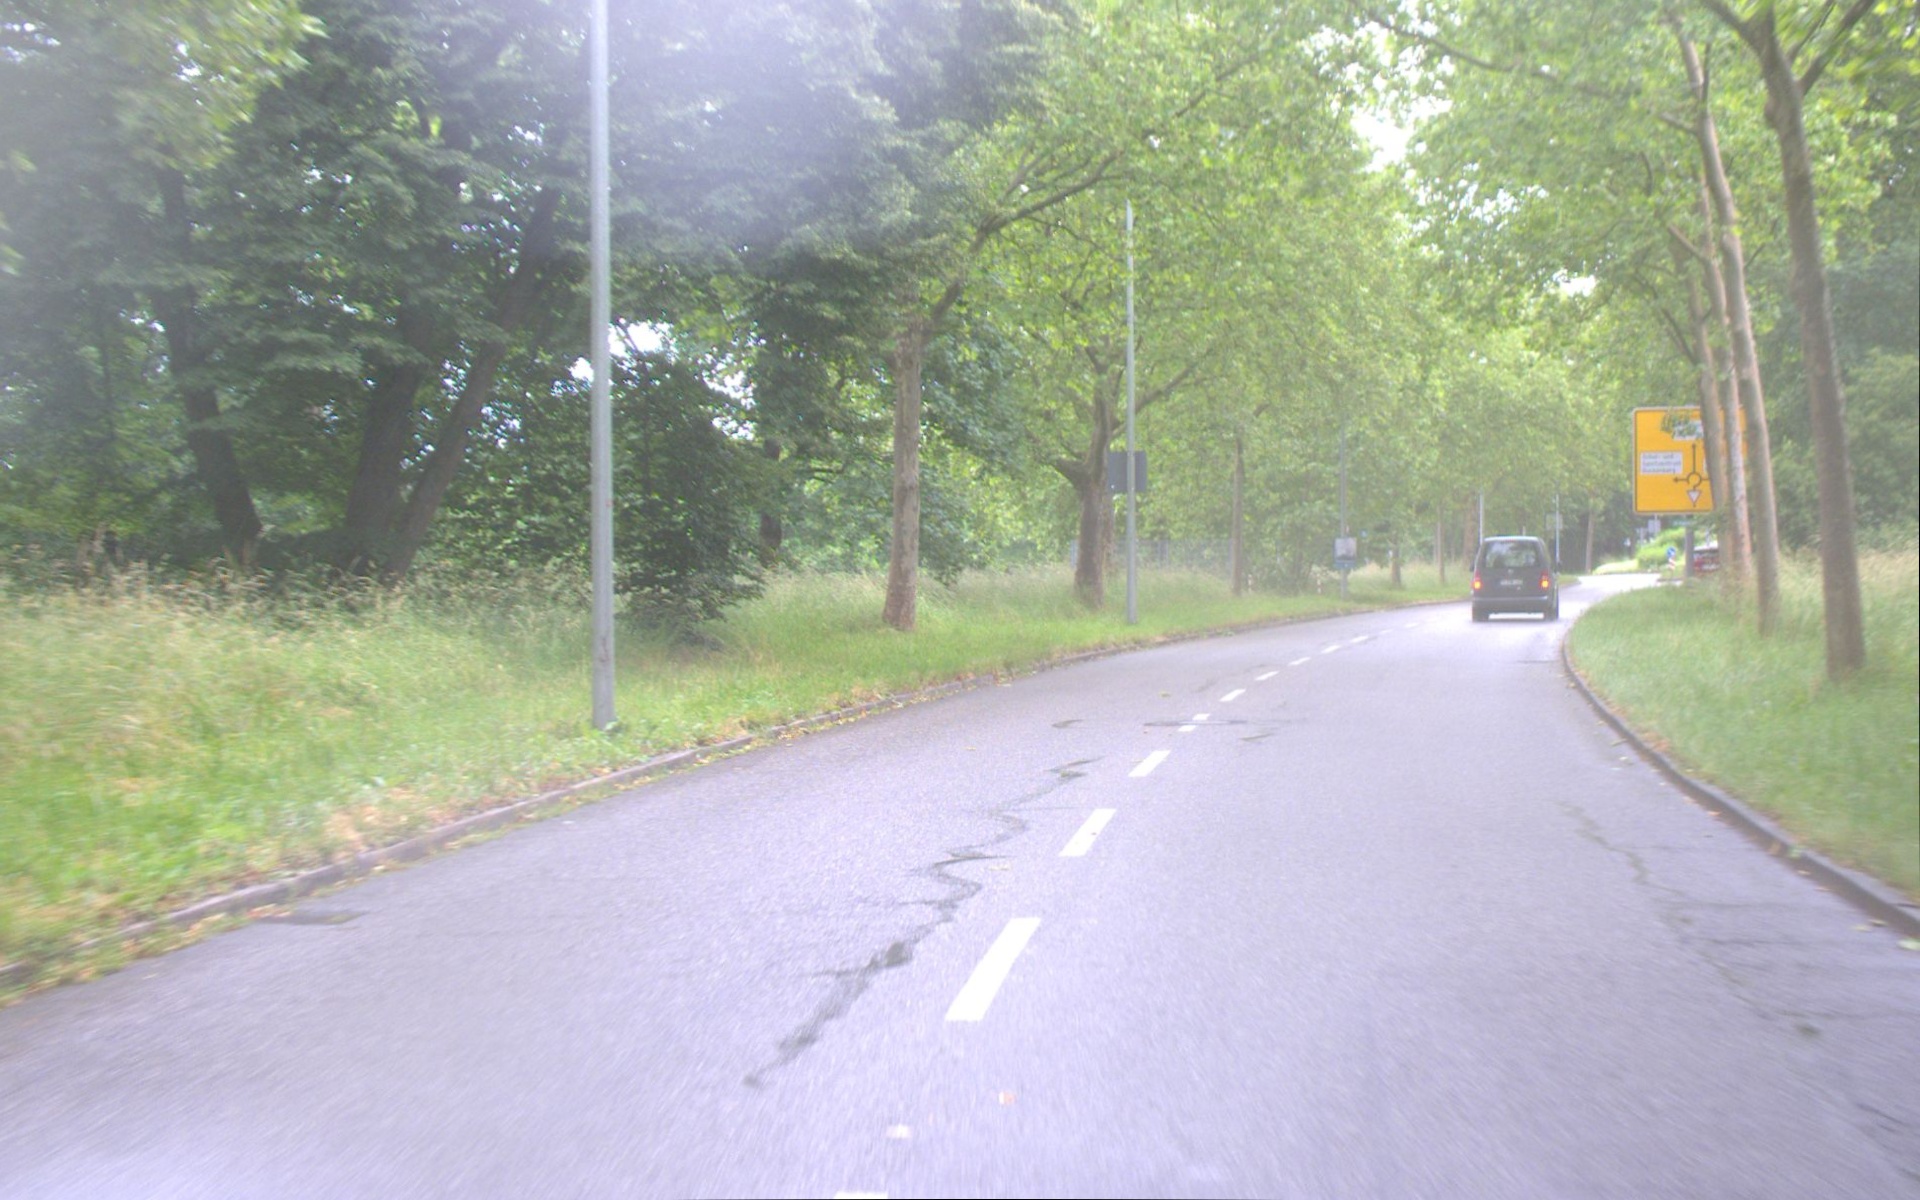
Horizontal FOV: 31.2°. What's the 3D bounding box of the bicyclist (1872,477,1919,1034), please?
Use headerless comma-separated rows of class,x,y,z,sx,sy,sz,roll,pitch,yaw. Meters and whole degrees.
bicyclist,2.806,0.397,8.747,0.730,1.406,0.973,1,1,4

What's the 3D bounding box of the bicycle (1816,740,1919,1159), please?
bicycle,2.806,0.920,8.940,0.730,0.970,2.173,1,1,4

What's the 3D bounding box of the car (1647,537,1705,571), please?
car,32.271,-2.088,154.924,1.796,1.505,3.995,1,1,23

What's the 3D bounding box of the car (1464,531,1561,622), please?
car,12.170,-0.540,75.532,1.986,1.919,3.998,1,1,11
